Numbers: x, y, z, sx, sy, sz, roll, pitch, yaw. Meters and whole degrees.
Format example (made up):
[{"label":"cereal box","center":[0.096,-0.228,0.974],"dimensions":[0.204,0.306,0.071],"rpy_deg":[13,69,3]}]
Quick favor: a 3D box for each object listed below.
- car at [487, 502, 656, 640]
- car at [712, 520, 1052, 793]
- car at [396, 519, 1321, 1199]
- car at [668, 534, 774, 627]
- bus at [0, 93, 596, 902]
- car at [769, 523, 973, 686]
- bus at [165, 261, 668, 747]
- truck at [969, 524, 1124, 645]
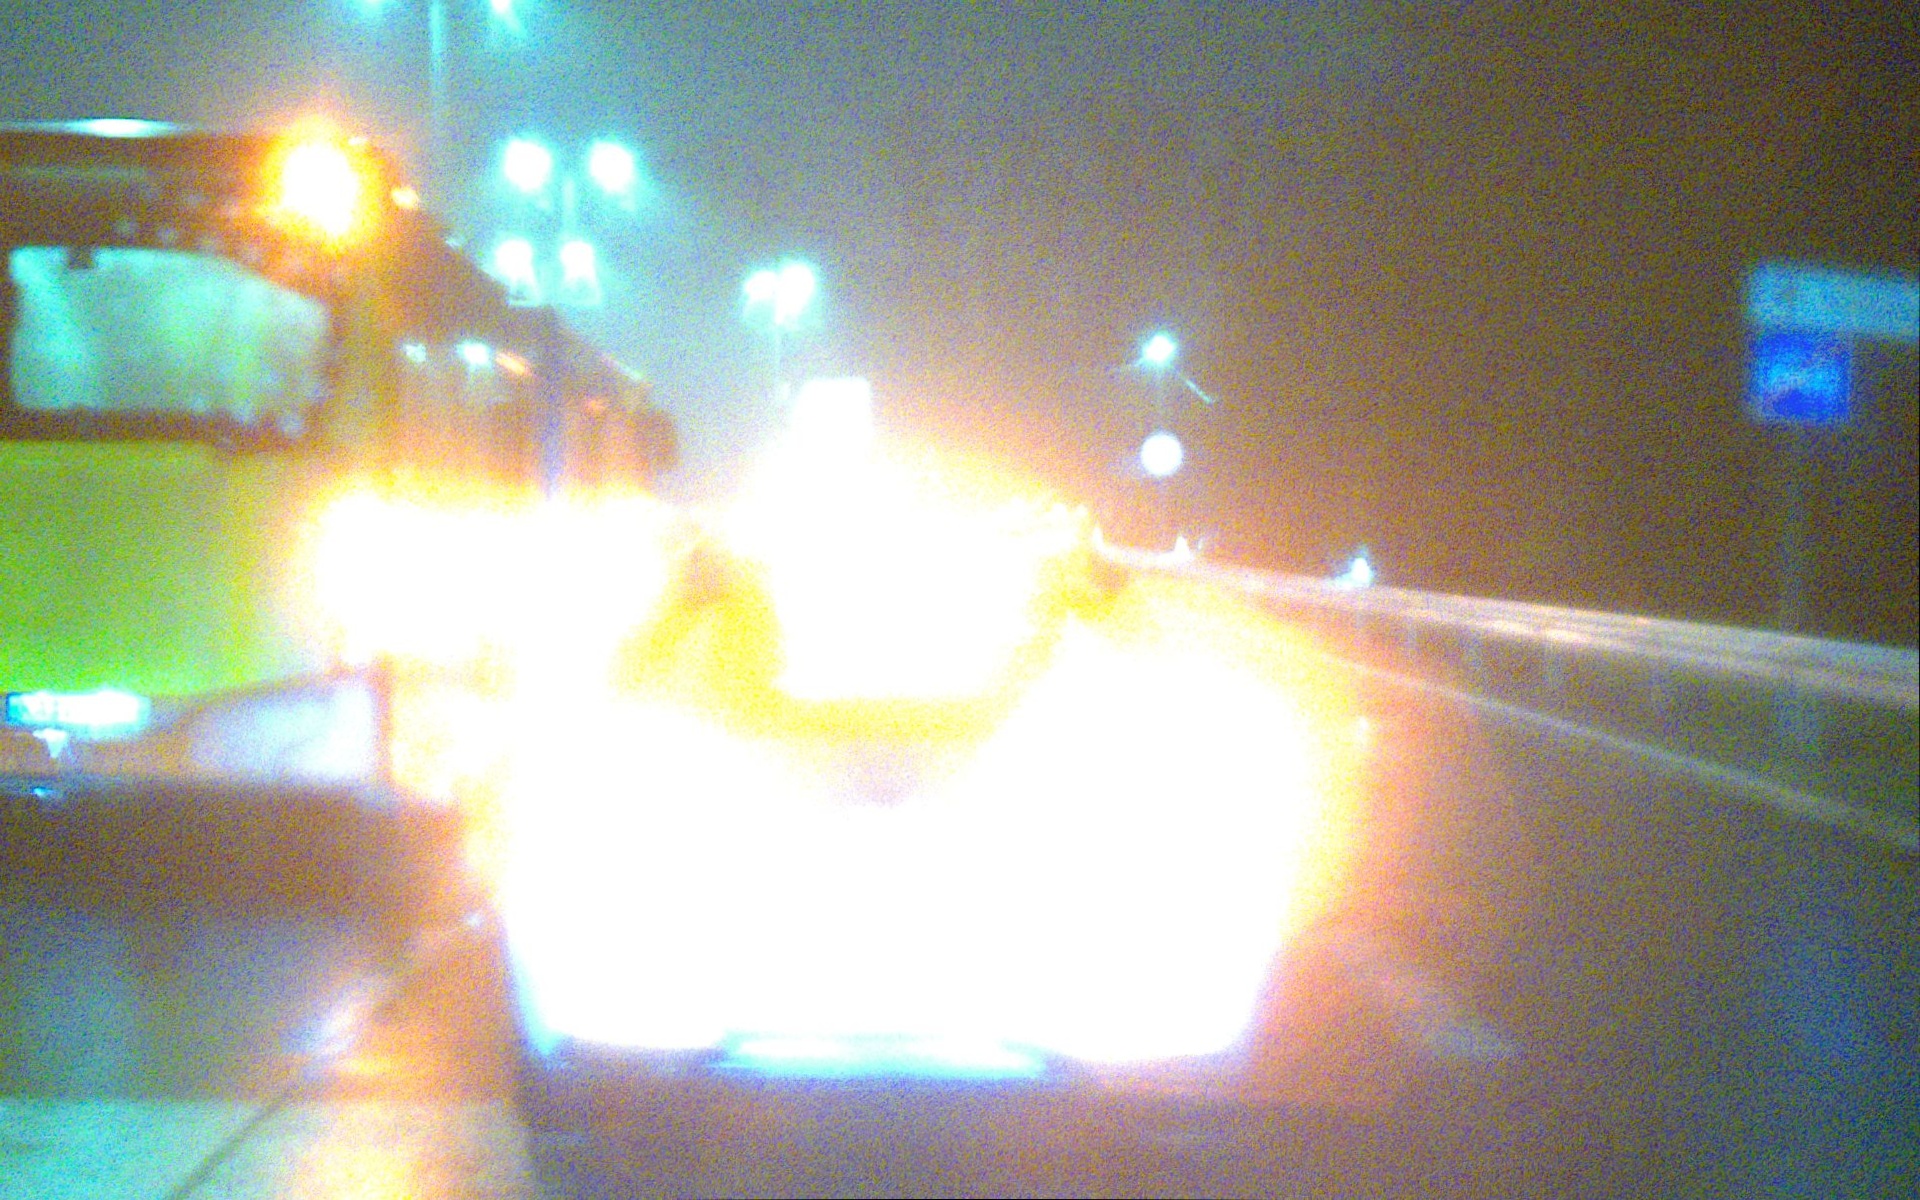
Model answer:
[{"label":"car","center":[-4.467,-0.321,39.950],"dimensions":[1.557,1.481,3.809],"rpy_deg":[2,0,-1]},{"label":"car","center":[-0.451,0.278,20.412],"dimensions":[1.822,1.456,3.716],"rpy_deg":[1,1,-1]},{"label":"car","center":[-0.313,0.552,9.128],"dimensions":[1.944,1.486,3.716],"rpy_deg":[1,1,-3]},{"label":"car","center":[-4.028,-0.330,58.443],"dimensions":[1.557,1.481,3.809],"rpy_deg":[2,0,-1]},{"label":"bus","center":[-3.675,-0.537,18.027],"dimensions":[2.743,3.112,9.202],"rpy_deg":[2,1,-2]},{"label":"car","center":[-0.830,0.012,32.873],"dimensions":[1.822,1.456,3.716],"rpy_deg":[1,1,-1]},{"label":"bus","center":[-3.947,-0.747,26.985],"dimensions":[2.743,3.112,8.705],"rpy_deg":[2,1,-2]},{"label":"truck","center":[2.029,-0.334,77.732],"dimensions":[3.070,2.520,7.165],"rpy_deg":[2,0,4]}]
